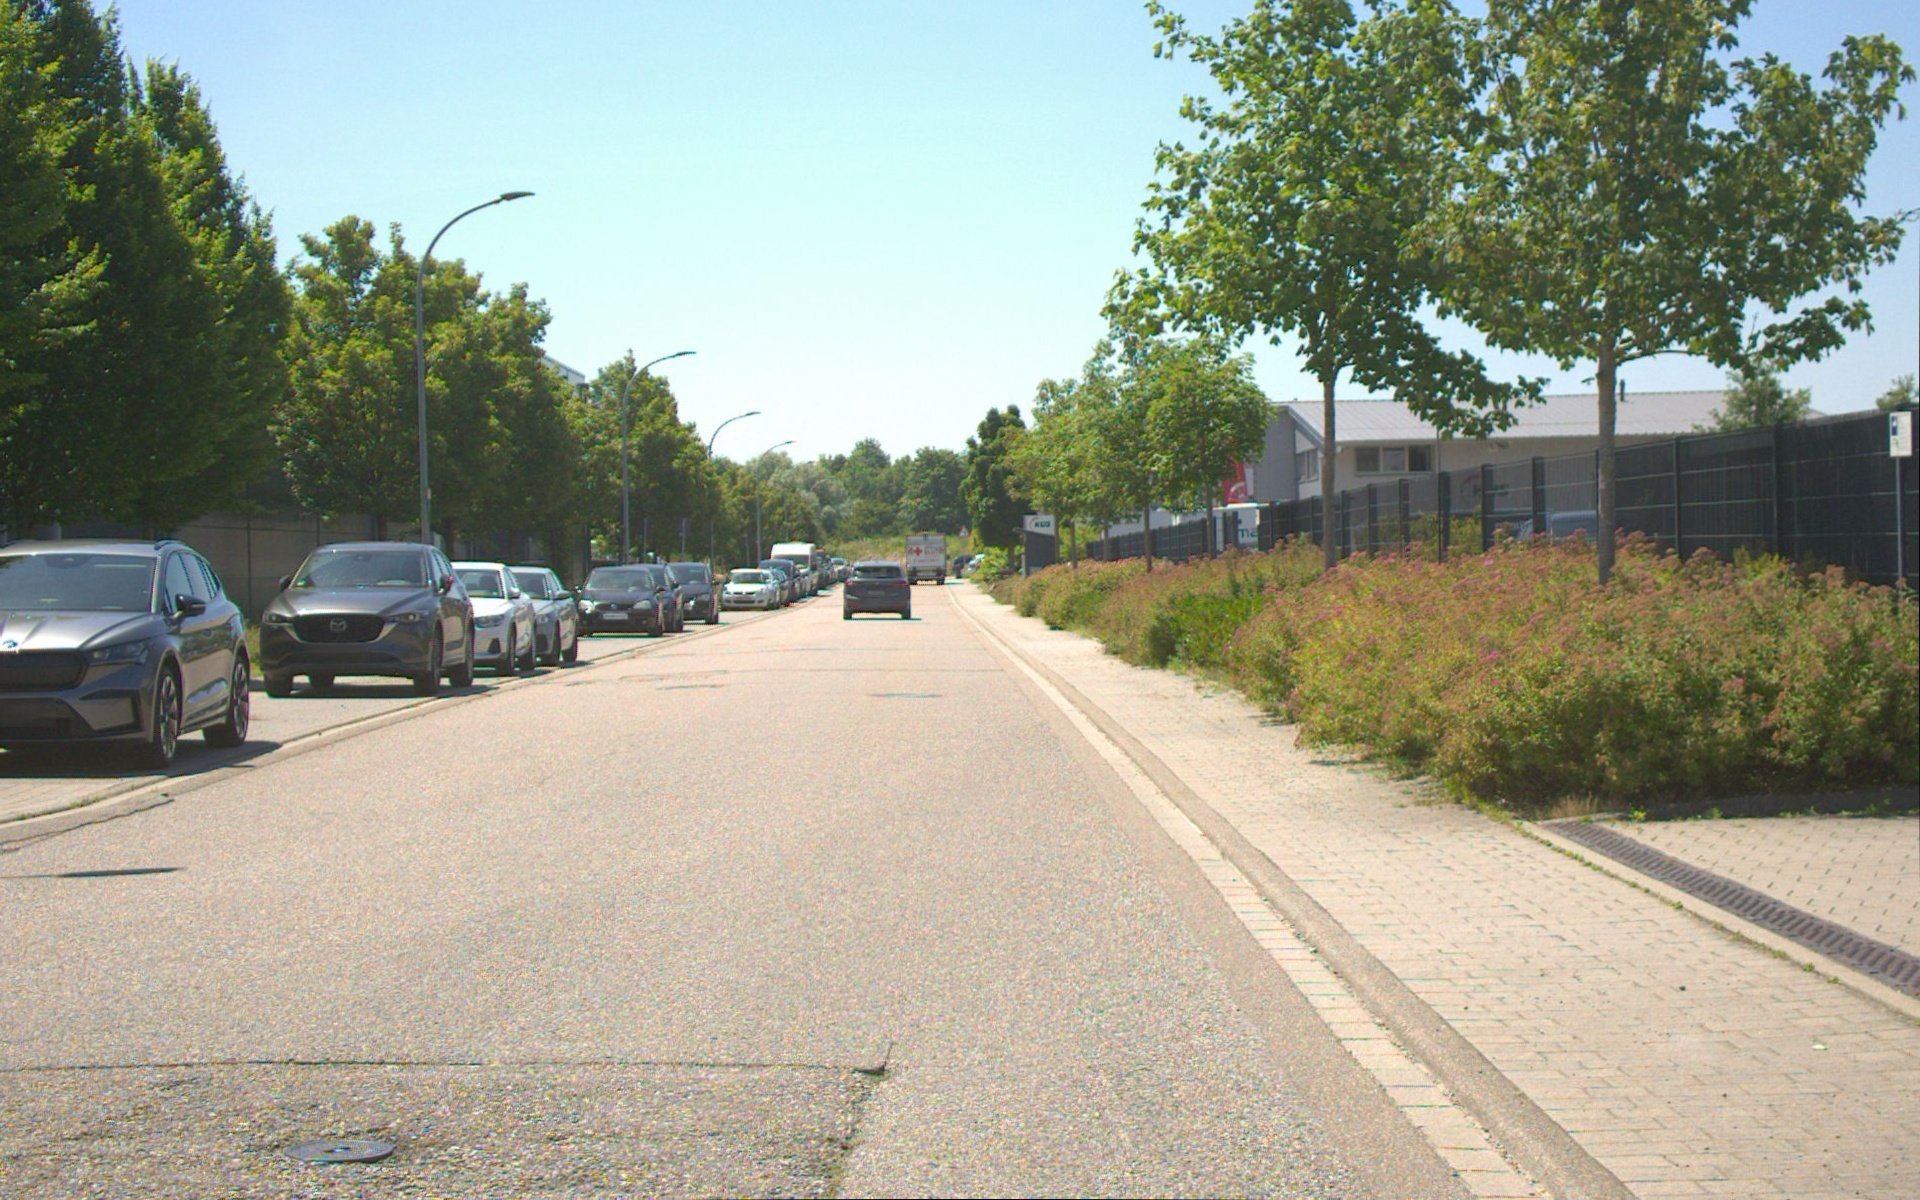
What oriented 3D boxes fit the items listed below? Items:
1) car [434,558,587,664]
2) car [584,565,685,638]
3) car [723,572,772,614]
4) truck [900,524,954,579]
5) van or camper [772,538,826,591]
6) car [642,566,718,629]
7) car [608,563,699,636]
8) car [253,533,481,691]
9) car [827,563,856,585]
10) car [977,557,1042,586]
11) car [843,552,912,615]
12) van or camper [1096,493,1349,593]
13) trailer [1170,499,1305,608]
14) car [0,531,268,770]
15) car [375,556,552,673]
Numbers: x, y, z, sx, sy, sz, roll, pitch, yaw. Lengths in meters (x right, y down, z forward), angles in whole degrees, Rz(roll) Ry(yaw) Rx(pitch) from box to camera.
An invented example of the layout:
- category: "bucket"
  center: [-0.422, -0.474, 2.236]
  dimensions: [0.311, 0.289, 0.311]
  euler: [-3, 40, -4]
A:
- category: "car"
  center: [-6.530, 0.130, 50.293]
  dimensions: [1.771, 1.426, 3.940]
  euler: [0, 1, -1]
- category: "car"
  center: [-6.834, 0.013, 72.569]
  dimensions: [1.771, 1.426, 4.201]
  euler: [0, 1, -1]
- category: "car"
  center: [-7.586, -0.256, 122.960]
  dimensions: [1.720, 1.471, 3.858]
  euler: [0, 0, -3]
- category: "truck"
  center: [-1.857, -2.732, 195.483]
  dimensions: [2.933, 2.964, 6.419]
  euler: [1, 0, 0]
- category: "van or camper"
  center: [-7.731, -1.706, 165.787]
  dimensions: [2.078, 2.474, 6.130]
  euler: [1, 0, 2]
- category: "car"
  center: [-7.381, -0.082, 90.972]
  dimensions: [1.770, 1.606, 4.248]
  euler: [0, 0, -2]
- category: "car"
  center: [-6.948, -0.020, 78.316]
  dimensions: [1.770, 1.606, 4.852]
  euler: [0, 0, -2]
- category: "car"
  center: [-6.471, 0.081, 37.949]
  dimensions: [1.771, 1.618, 4.582]
  euler: [0, 1, -1]
- category: "car"
  center: [-8.300, -1.858, 241.915]
  dimensions: [1.799, 1.482, 4.252]
  euler: [0, 1, 1]
- category: "car"
  center: [3.013, -1.744, 210.500]
  dimensions: [3.875, 1.744, 1.752]
  euler: [1, 0, -3]
- category: "car"
  center: [-2.195, -0.445, 92.714]
  dimensions: [1.789, 1.618, 3.809]
  euler: [1, 0, -1]
- category: "van or camper"
  center: [7.291, -1.580, 95.943]
  dimensions: [6.757, 2.576, 2.636]
  euler: [-2, 0, -1]
- category: "trailer"
  center: [6.409, -1.077, 79.616]
  dimensions: [2.822, 2.395, 1.420]
  euler: [-2, 0, -4]
- category: "car"
  center: [-6.387, 0.332, 25.173]
  dimensions: [1.771, 1.582, 4.481]
  euler: [-1, 0, -1]
- category: "car"
  center: [-6.527, 0.155, 45.551]
  dimensions: [1.771, 1.426, 4.201]
  euler: [0, 1, -1]
